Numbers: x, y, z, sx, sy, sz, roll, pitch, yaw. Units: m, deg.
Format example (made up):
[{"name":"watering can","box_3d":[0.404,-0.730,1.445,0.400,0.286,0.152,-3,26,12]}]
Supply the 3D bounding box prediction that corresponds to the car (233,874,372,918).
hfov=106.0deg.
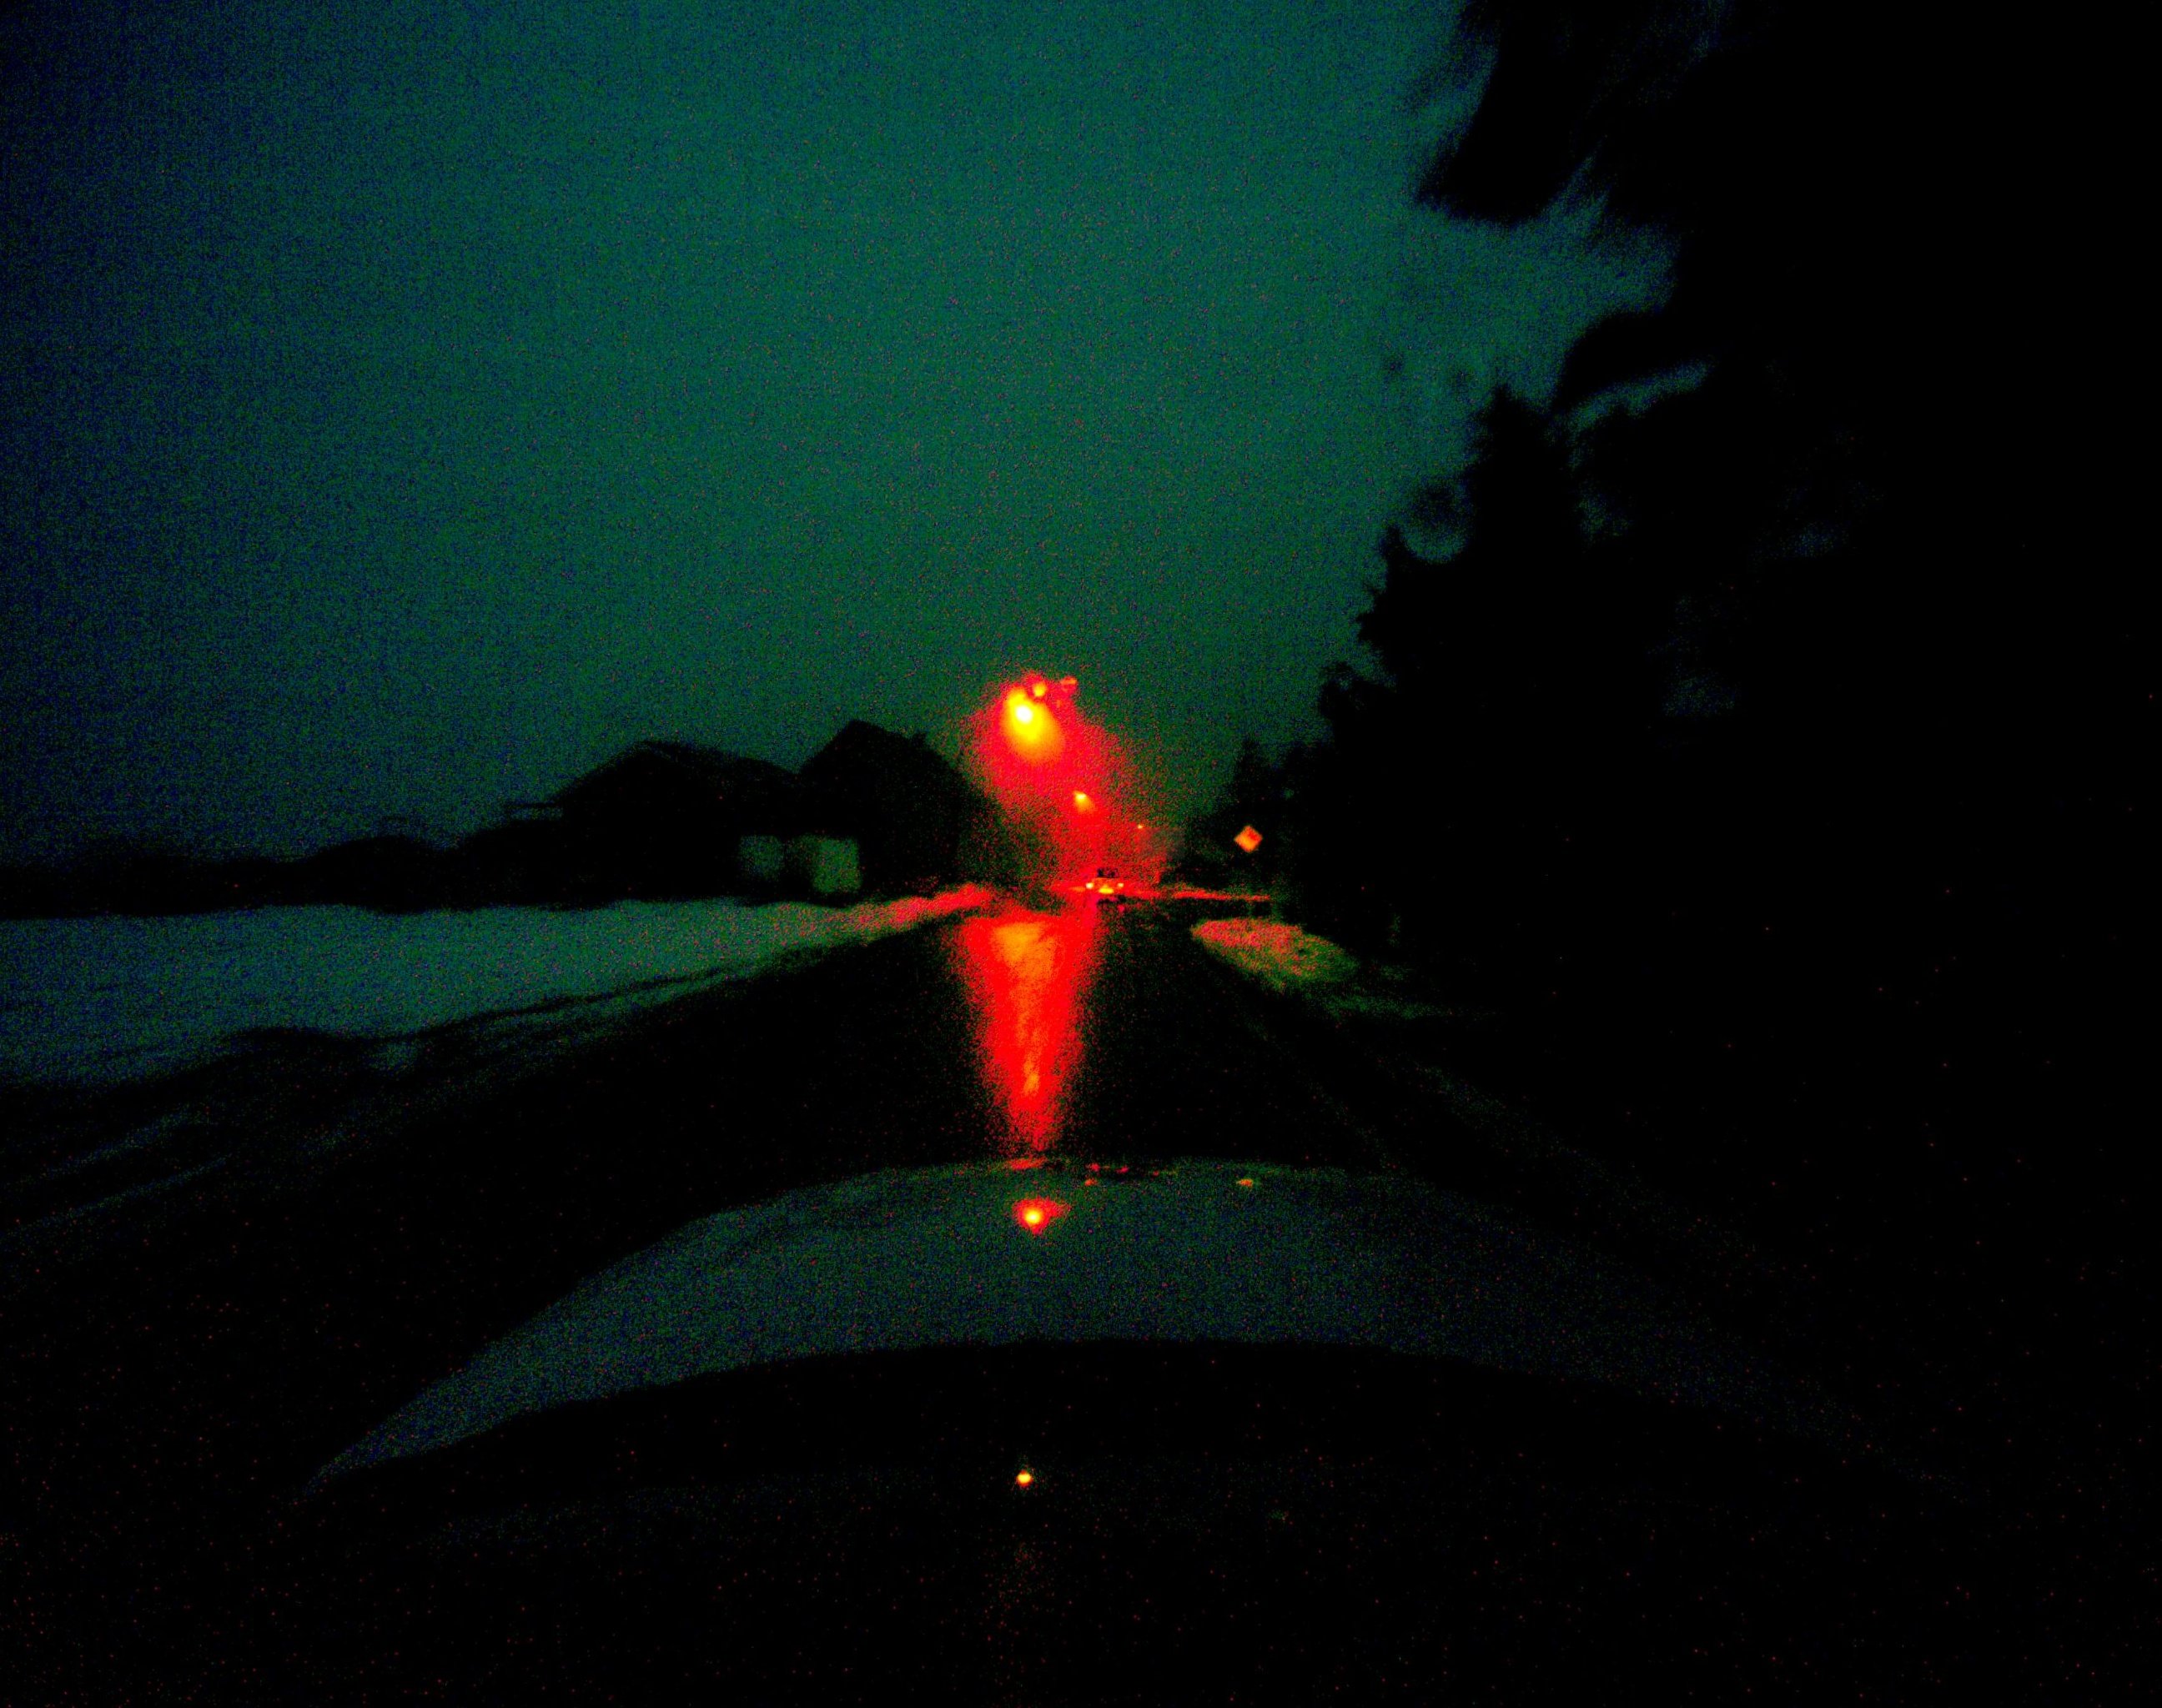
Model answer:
[{"name":"car","box_3d":[-34.588,1.820,36.343,1.982,1.662,4.010,-3,0,9]}]

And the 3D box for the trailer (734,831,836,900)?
[{"name":"trailer","box_3d":[-11.709,0.422,32.569,1.981,2.489,4.021,-3,0,9]}]

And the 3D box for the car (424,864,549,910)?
[{"name":"car","box_3d":[-25.098,1.338,34.595,1.982,1.662,4.009,-3,0,8]}]

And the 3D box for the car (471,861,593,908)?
[{"name":"car","box_3d":[-22.791,1.223,34.004,1.983,1.662,4.008,-3,0,7]}]

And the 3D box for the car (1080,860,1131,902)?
[{"name":"car","box_3d":[1.080,1.099,34.462,1.985,1.508,4.003,-3,0,3]}]

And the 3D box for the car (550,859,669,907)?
[{"name":"car","box_3d":[-19.266,1.138,33.520,1.980,1.717,4.013,-3,0,11]}]

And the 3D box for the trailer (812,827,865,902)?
[{"name":"trailer","box_3d":[-9.233,0.396,30.888,1.694,2.605,3.423,-3,0,-18]}]
